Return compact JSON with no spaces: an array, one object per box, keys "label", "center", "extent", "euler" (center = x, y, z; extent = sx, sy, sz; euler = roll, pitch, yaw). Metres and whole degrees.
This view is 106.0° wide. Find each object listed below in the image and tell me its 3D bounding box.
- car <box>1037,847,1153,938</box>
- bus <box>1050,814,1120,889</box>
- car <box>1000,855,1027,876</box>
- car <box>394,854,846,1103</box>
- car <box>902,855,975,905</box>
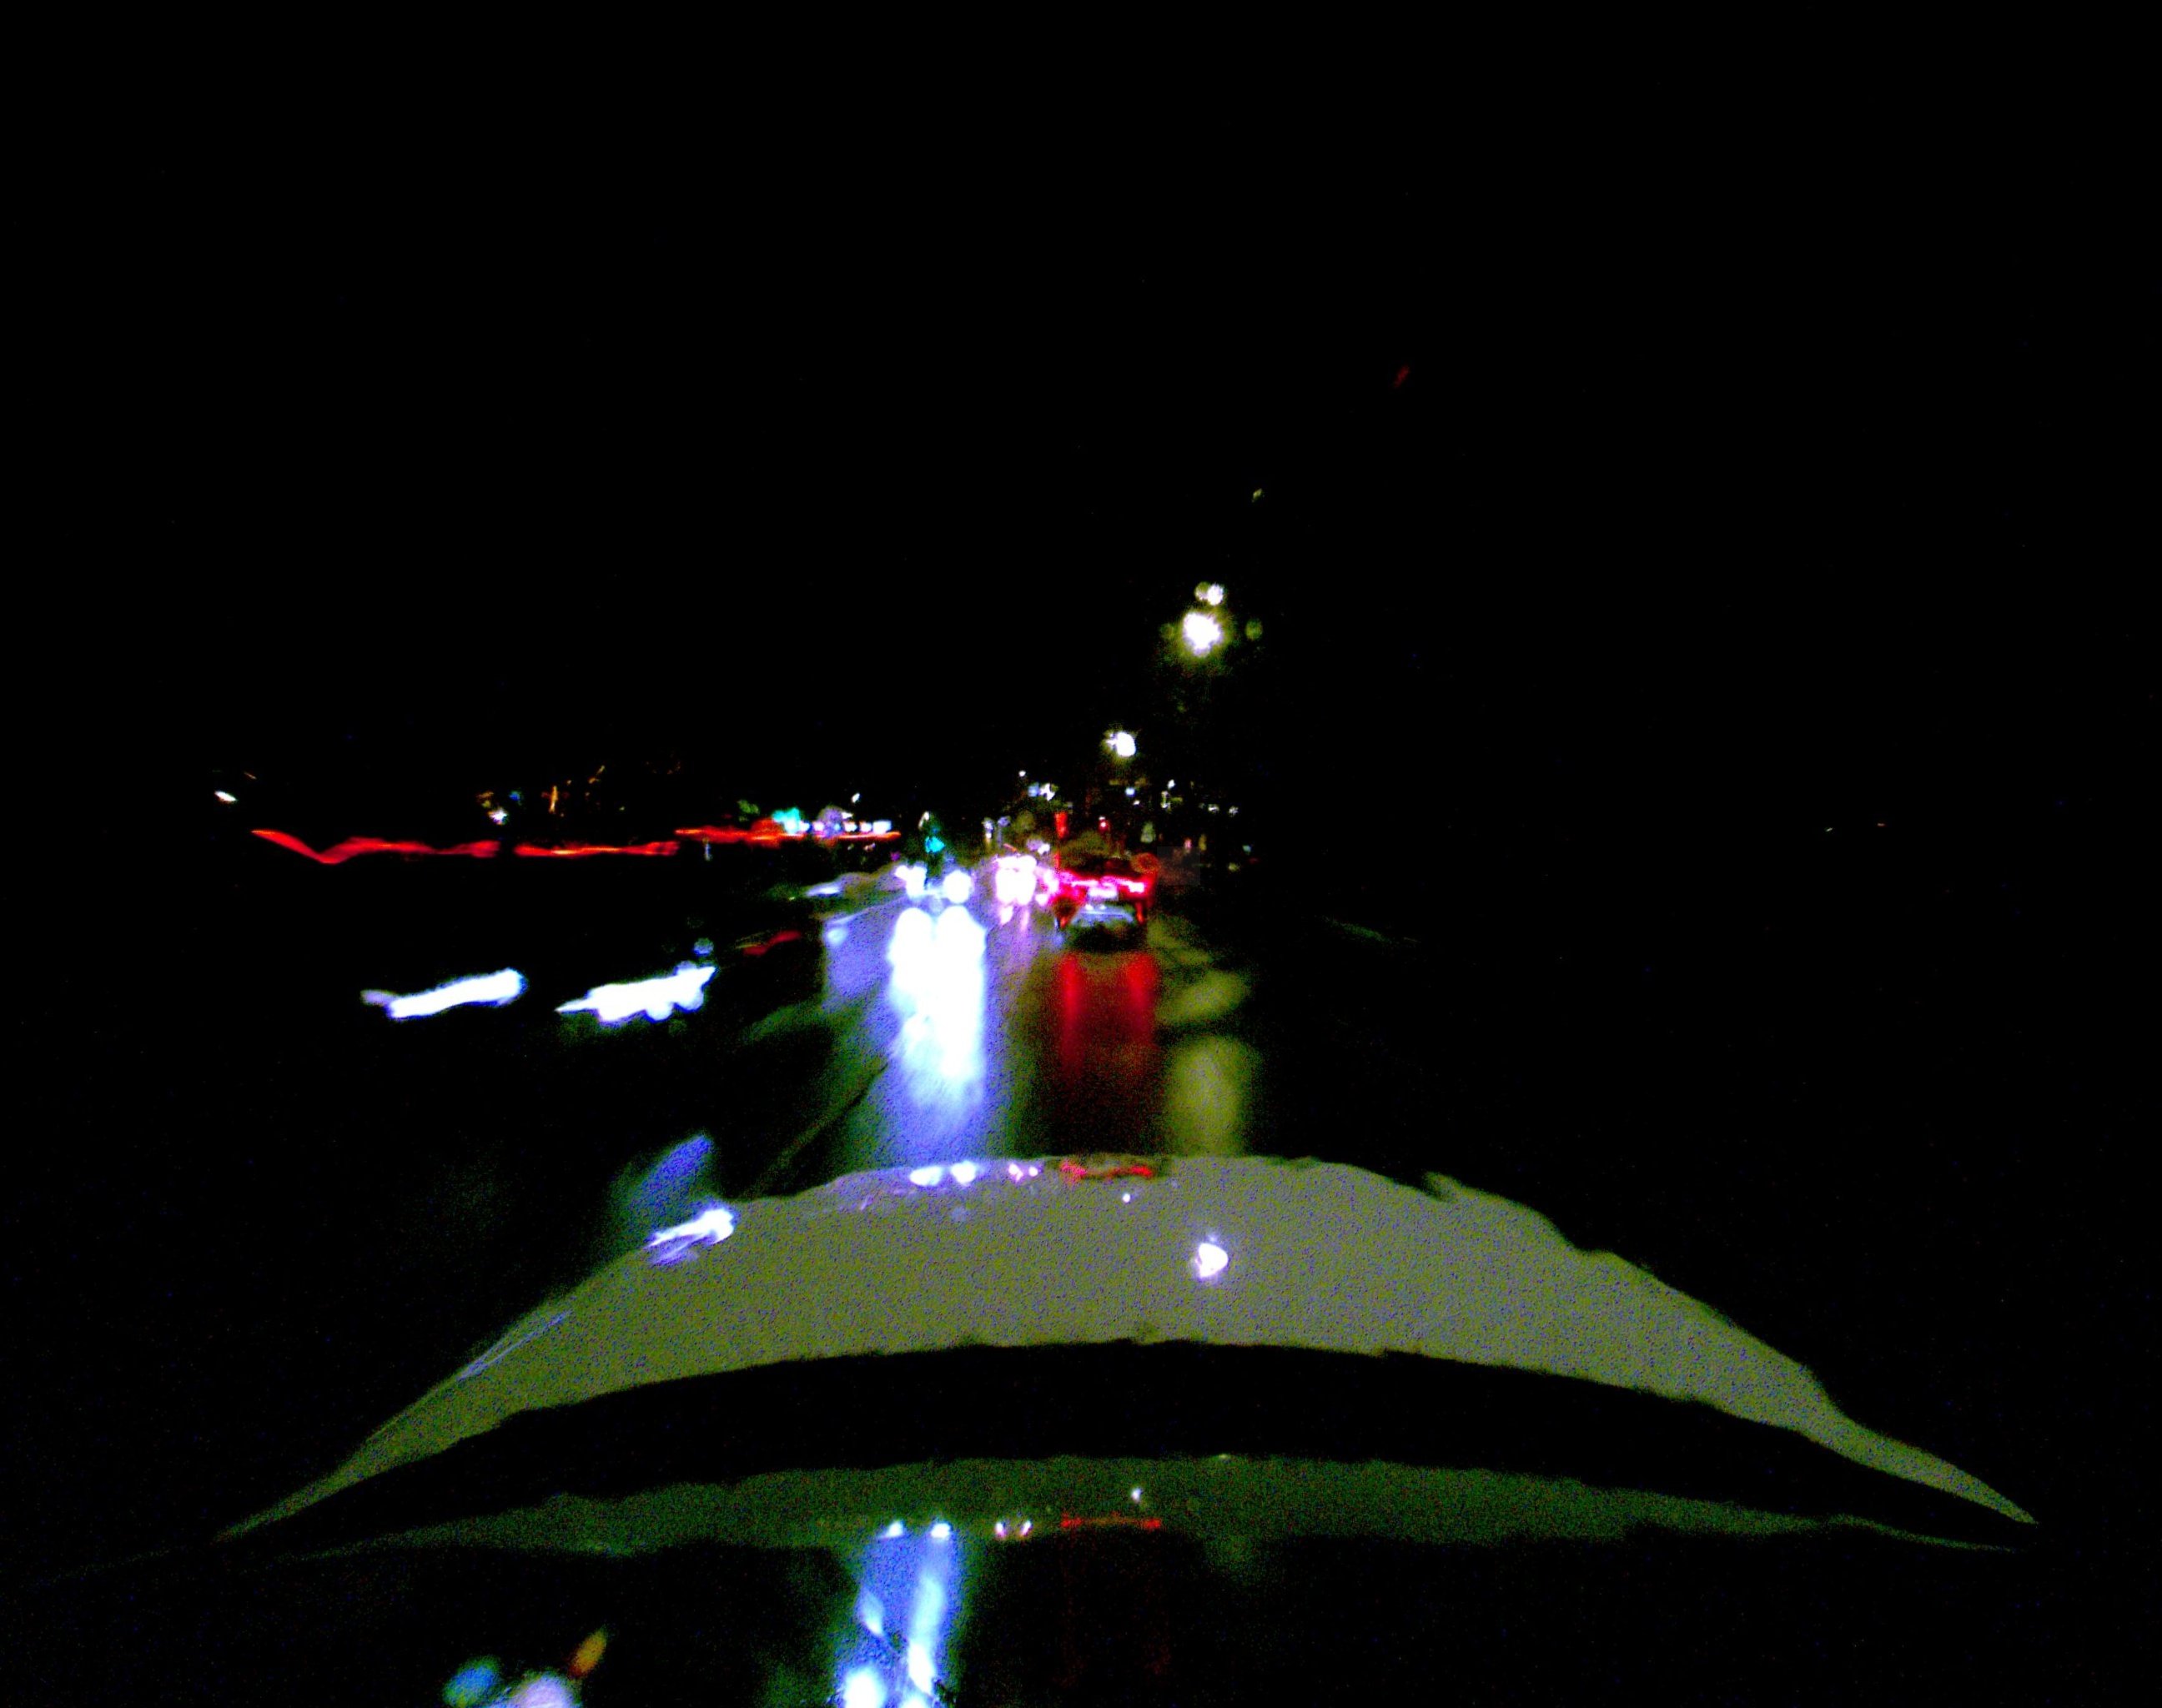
[{"label":"car","center":[0.372,0.641,15.957],"extent":[1.985,1.524,4.004],"euler":[0,1,4]},{"label":"bus","center":[0.287,-0.126,40.189],"extent":[3.032,3.212,9.053],"euler":[-1,0,1]},{"label":"car","center":[-5.019,0.844,60.863],"extent":[1.820,1.403,4.031],"euler":[1,1,-3]},{"label":"car","center":[-3.387,0.756,6.983],"extent":[1.613,1.478,4.044],"euler":[-1,0,-1]},{"label":"car","center":[-4.360,0.744,25.499],"extent":[1.756,1.431,4.322],"euler":[0,0,-3]}]
